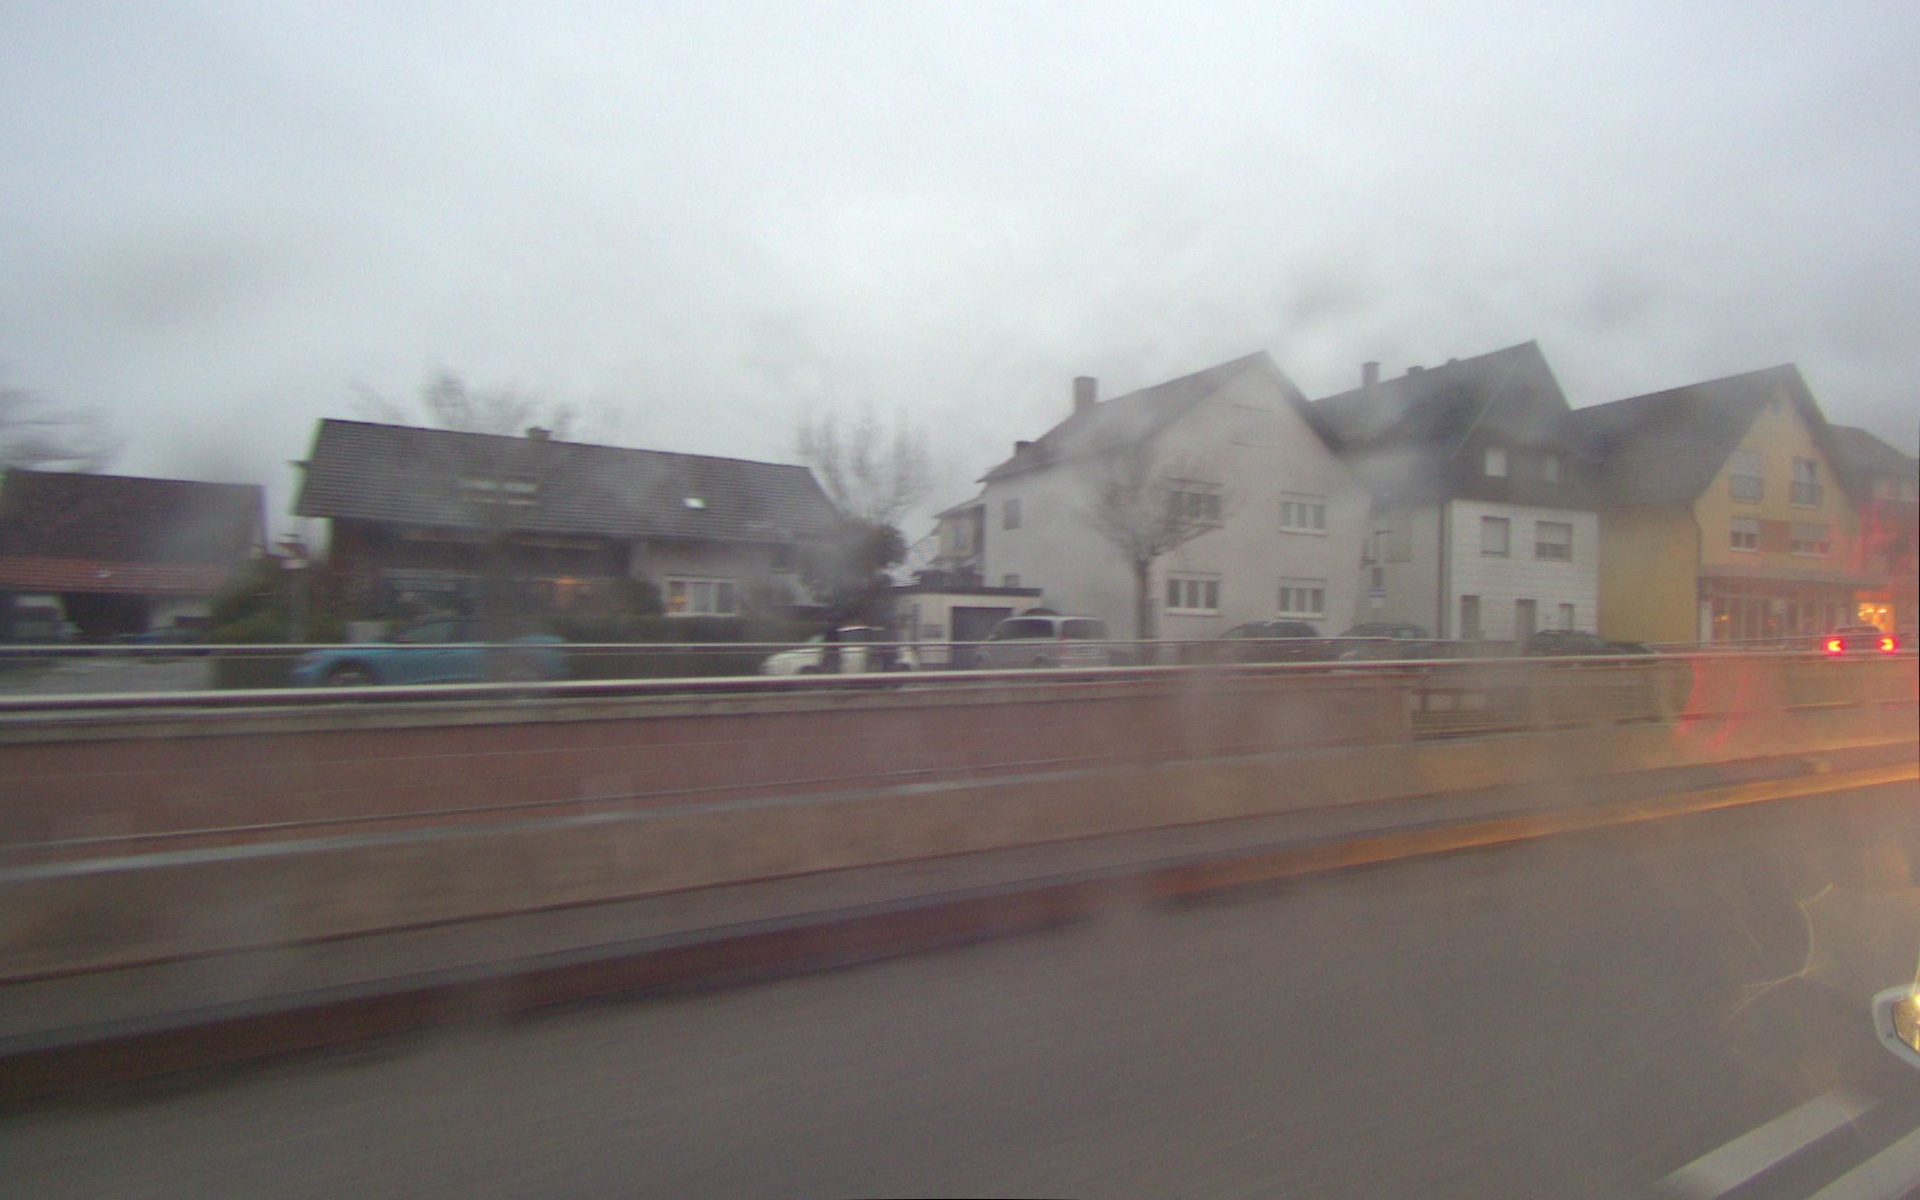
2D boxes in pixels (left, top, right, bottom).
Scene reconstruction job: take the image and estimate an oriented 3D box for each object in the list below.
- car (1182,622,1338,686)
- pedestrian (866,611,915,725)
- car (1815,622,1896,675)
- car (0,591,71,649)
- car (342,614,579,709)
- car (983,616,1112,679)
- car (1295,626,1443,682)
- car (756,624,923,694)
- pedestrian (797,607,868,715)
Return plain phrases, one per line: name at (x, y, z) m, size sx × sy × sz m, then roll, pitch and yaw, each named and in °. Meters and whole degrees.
car at (8.544, 1.470, 28.538) m, size 4.166 × 1.705 × 1.902 m, roll 1°, pitch -1°, yaw -29°
pedestrian at (-1.095, 1.036, 15.679) m, size 0.534 × 1.720 × 0.661 m, roll 1°, pitch 0°, yaw -27°
car at (29.210, 1.529, 32.859) m, size 1.800 × 1.634 × 4.037 m, roll -1°, pitch -2°, yaw 40°
car at (-34.919, 0.694, 36.254) m, size 3.961 × 2.040 × 1.980 m, roll 2°, pitch -1°, yaw -36°
car at (-9.264, 1.137, 18.717) m, size 3.781 × 1.601 × 1.556 m, roll 2°, pitch -4°, yaw -34°
car at (2.516, 1.378, 29.694) m, size 1.843 × 1.716 × 3.968 m, roll 1°, pitch -2°, yaw -31°
car at (12.467, 1.600, 30.602) m, size 4.162 × 1.583 × 1.904 m, roll 1°, pitch -1°, yaw -26°
car at (-2.685, 1.298, 22.503) m, size 3.418 × 1.446 × 1.476 m, roll 2°, pitch -1°, yaw -29°
pedestrian at (-2.230, 1.035, 17.467) m, size 0.961 × 1.808 × 0.924 m, roll 1°, pitch -1°, yaw -27°
